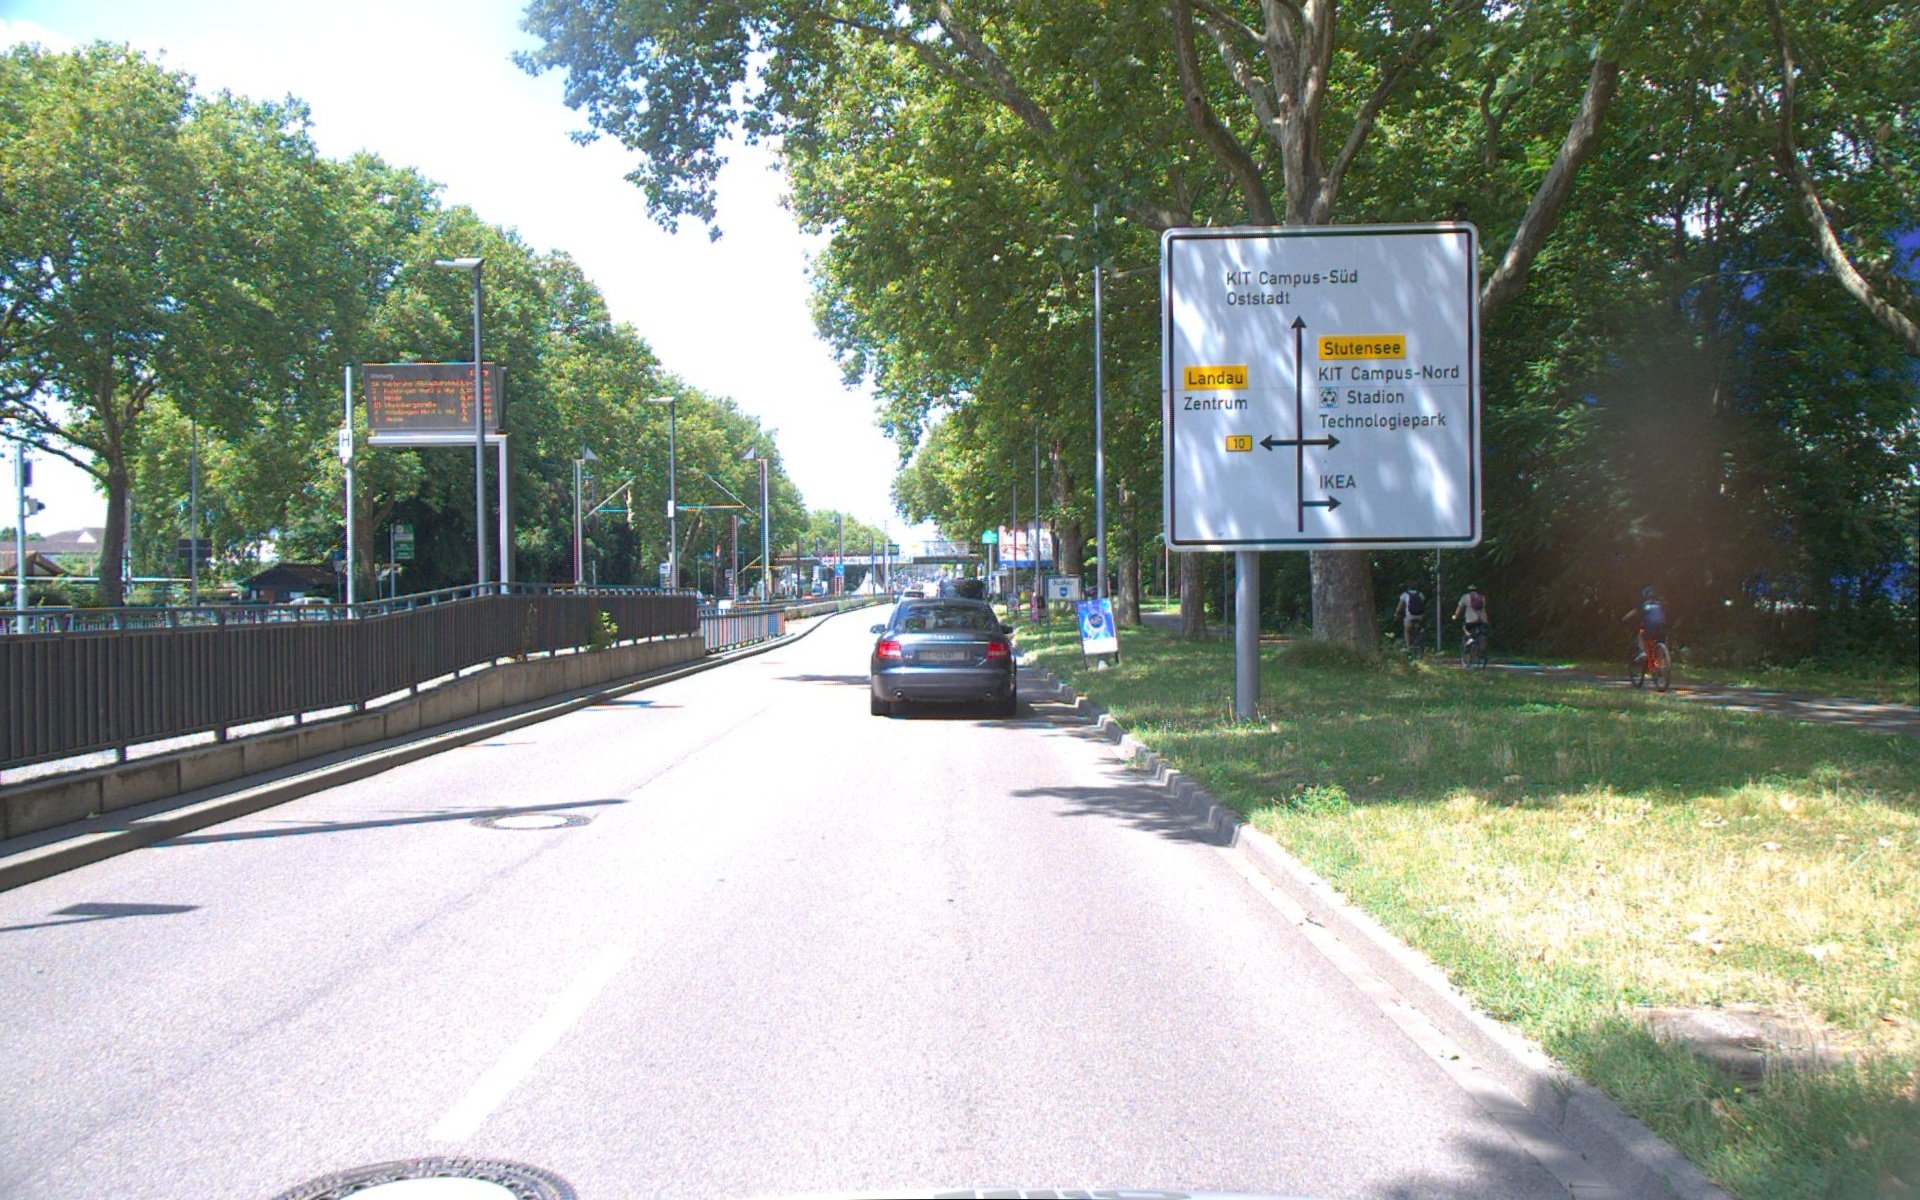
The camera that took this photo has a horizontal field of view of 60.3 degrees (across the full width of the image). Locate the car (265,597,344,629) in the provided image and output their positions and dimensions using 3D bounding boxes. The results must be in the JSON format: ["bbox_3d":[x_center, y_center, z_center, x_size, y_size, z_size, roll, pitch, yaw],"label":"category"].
[{"bbox_3d":[-31.485,0.623,79.508,3.258,1.501,1.650,0,0,-12],"label":"car"}]

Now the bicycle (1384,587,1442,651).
[{"bbox_3d":[10.736,0.426,39.261,0.598,1.444,2.661,-1,1,-1],"label":"bicycle"}]

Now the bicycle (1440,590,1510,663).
[{"bbox_3d":[10.726,0.530,34.537,0.598,1.444,2.661,-1,1,-1],"label":"bicycle"}]

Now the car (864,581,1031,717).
[{"bbox_3d":[-0.260,0.670,21.273,1.806,1.510,3.995,2,-3,-5],"label":"car"}]

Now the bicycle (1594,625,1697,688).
[{"bbox_3d":[10.768,0.872,26.066,0.633,0.902,2.021,0,0,-6],"label":"bicycle"}]

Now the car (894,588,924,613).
[{"bbox_3d":[-3.212,0.012,103.067,1.808,1.489,3.998,0,0,-2],"label":"car"}]

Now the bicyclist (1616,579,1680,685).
[{"bbox_3d":[10.781,0.487,25.935,0.611,1.638,0.815,0,1,-6],"label":"bicyclist"}]

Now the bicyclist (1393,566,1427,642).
[{"bbox_3d":[10.706,0.083,39.363,0.585,1.776,0.843,0,0,-1],"label":"bicyclist"}]

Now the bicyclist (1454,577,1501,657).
[{"bbox_3d":[10.723,0.347,34.309,0.645,1.627,1.053,0,0,0],"label":"bicyclist"}]

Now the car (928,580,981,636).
[{"bbox_3d":[-0.177,0.273,61.546,1.810,1.993,4.145,1,0,1],"label":"car"}]
